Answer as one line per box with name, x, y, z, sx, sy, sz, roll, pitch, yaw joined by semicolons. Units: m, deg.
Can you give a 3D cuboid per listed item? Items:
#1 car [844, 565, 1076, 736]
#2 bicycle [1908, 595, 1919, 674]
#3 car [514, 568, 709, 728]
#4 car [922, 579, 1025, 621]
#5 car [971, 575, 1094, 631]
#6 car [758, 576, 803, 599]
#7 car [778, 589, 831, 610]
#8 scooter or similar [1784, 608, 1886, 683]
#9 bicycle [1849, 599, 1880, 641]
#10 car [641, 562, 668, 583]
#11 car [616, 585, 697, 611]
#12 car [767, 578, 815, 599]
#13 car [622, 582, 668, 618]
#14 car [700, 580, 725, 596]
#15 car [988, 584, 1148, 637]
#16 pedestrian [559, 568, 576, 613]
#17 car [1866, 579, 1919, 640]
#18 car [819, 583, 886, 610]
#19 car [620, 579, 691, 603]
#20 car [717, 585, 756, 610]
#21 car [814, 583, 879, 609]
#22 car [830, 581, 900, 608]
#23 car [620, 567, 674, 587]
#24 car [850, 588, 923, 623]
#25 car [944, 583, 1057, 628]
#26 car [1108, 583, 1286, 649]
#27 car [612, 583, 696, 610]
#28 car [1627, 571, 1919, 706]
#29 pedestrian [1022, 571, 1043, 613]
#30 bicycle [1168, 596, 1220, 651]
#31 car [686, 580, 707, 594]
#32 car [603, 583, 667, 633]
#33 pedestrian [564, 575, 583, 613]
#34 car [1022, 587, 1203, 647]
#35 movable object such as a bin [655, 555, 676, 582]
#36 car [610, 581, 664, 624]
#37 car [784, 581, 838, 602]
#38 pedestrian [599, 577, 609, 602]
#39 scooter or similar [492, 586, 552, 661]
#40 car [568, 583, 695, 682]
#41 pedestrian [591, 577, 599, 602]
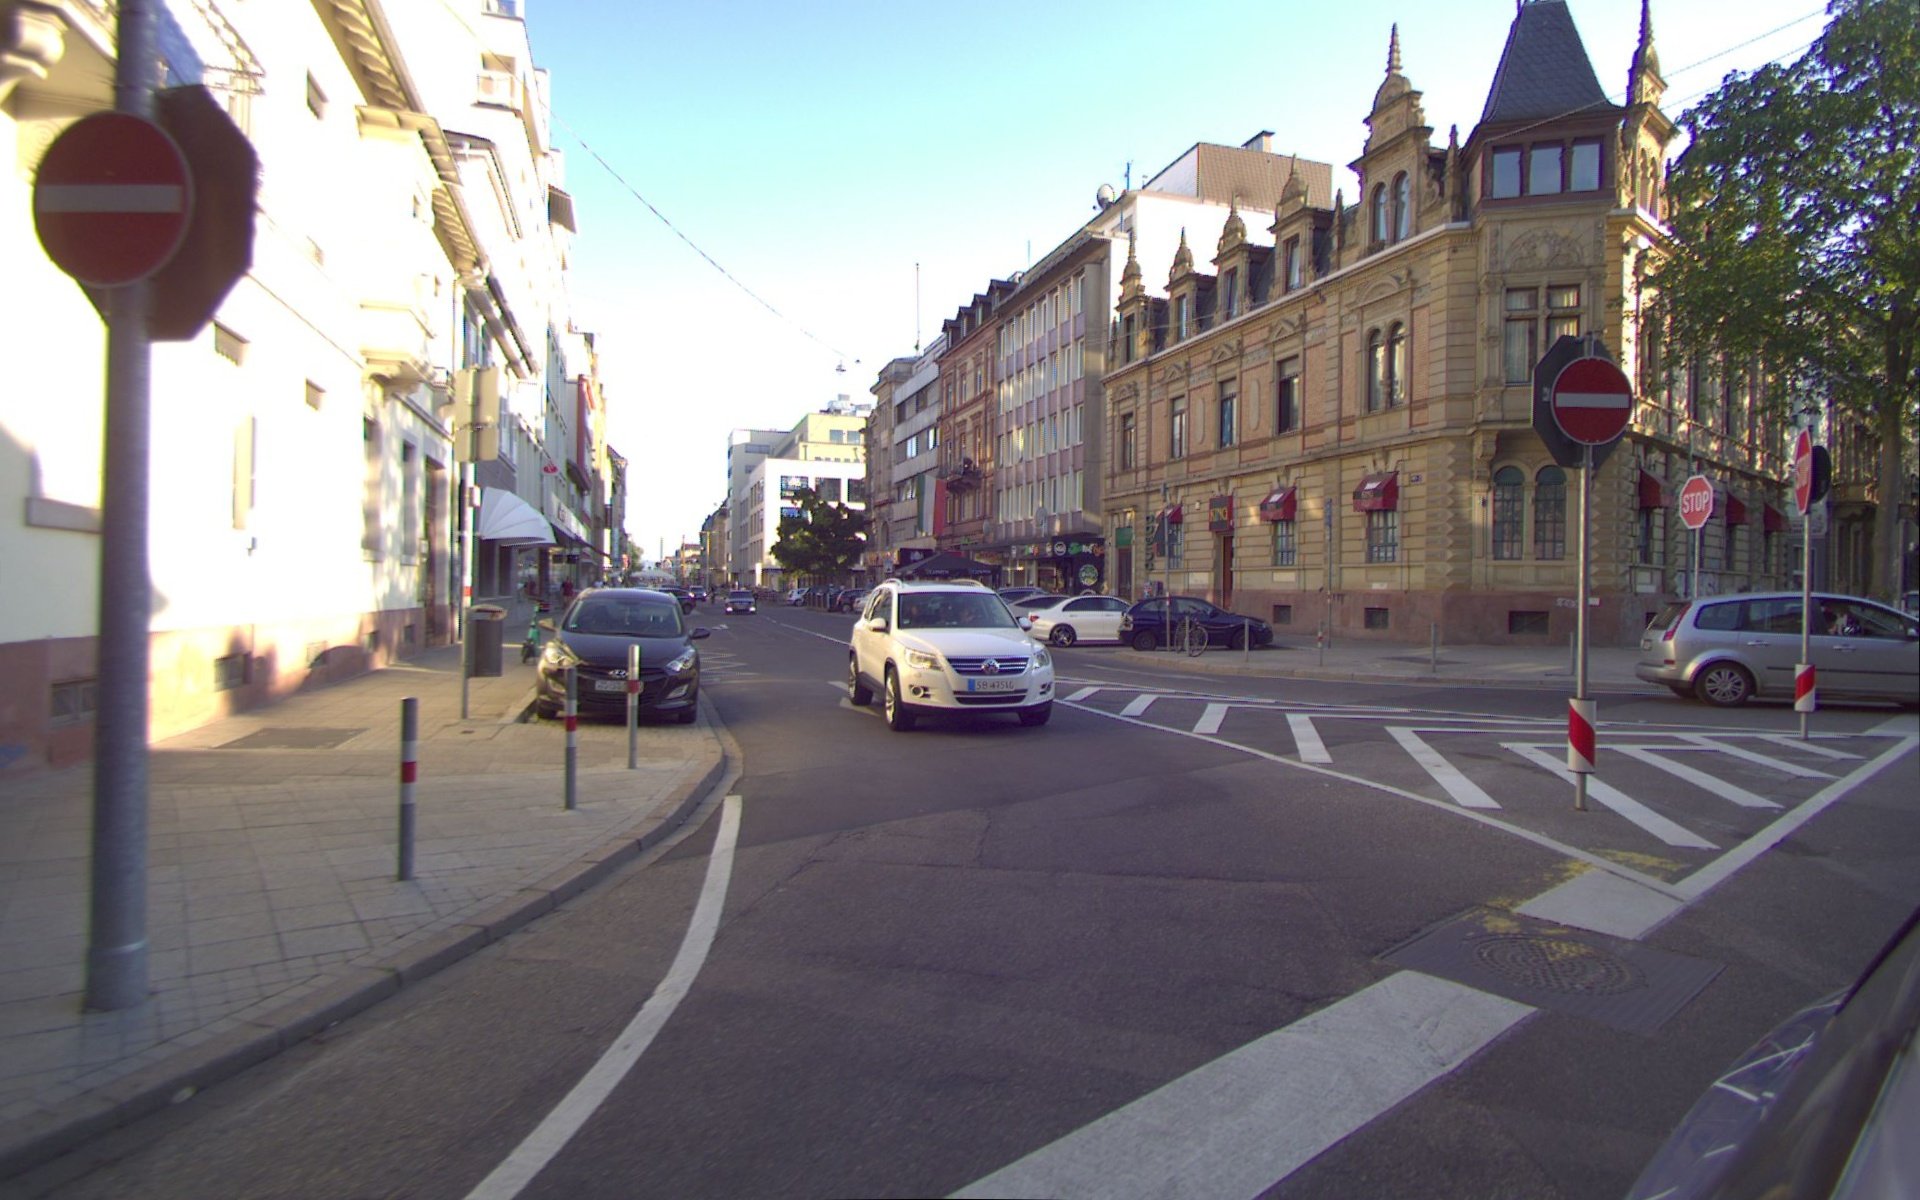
car;-0.211;0.453;12.318;1.856;1.676;4.213;-1;1;-14
bicycle;17.416;0.619;17.989;1.262;1.389;0.418;1;1;-29
car;-4.153;0.473;12.731;1.828;1.562;4.433;4;0;-14
car;0.533;-0.025;42.012;4.056;1.580;1.782;2;1;-4
car;2.557;0.081;35.388;4.073;1.747;1.774;2;1;11
car;-16.881;-1.201;95.054;3.915;2.039;1.876;1;0;-16
car;-12.987;-0.030;84.398;4.051;1.580;1.784;1;1;-17
scooter or similar;15.376;0.790;17.803;1.252;1.259;0.505;1;0;7
bicycle;27.686;0.611;30.976;1.694;1.250;0.386;0;1;-38
car;-30.606;-2.743;101.326;2.306;2.039;4.550;0;0;-20
car;-17.337;-0.136;57.937;1.769;1.386;4.118;2;2;43
car;-15.125;-1.041;90.606;3.916;1.838;1.862;1;1;-19
car;-13.204;-0.035;42.580;1.738;1.386;4.193;1;1;-16
car;-21.589;-1.061;88.309;1.707;1.390;4.008;0;0;-20
car;3.478;0.311;32.250;4.898;1.476;1.869;2;0;12
pedestrian;-18.043;-0.440;46.554;0.665;2.039;0.621;1;0;-17
car;32.363;0.366;32.570;1.917;1.938;4.548;1;2;-42
car;-6.994;-0.221;65.764;4.051;1.580;1.784;1;1;-17
car;-19.850;-0.575;66.094;4.103;1.543;1.776;0;1;-34
car;-13.035;-0.165;58.964;1.707;1.390;4.008;0;0;-20
car;-7.585;-0.290;67.574;4.051;1.580;1.784;1;1;-17
car;-5.958;-0.354;63.277;4.051;1.580;1.784;1;1;-17
car;-24.326;-1.799;78.618;3.916;1.482;1.764;1;1;-22
car;-3.951;0.260;54.169;3.782;1.812;2.002;0;0;-5
car;1.565;0.186;38.540;4.073;1.559;1.774;2;1;11
car;5.934;0.386;25.779;4.207;1.430;1.709;-3;0;8
car;-16.369;-0.216;54.314;1.764;1.386;4.132;2;2;34
car;11.911;0.476;13.887;4.305;1.674;1.871;1;1;24
pedestrian;3.127;-0.342;43.751;0.621;1.785;0.737;1;0;-18
bicycle;5.317;0.509;23.068;0.813;1.149;1.832;0;1;2
car;-27.640;-1.340;106.131;1.707;1.390;4.008;0;0;-20
car;-10.004;0.201;31.344;1.738;1.386;4.193;1;1;-16
pedestrian;-21.152;-0.316;55.383;0.891;2.039;1.104;0;0;-17
car;4.368;0.432;28.932;4.916;1.476;1.980;2;1;13
movable object such as a bin;-34.512;-3.628;118.350;2.306;2.993;5.585;0;0;-17
car;-11.674;0.049;36.744;1.738;1.386;4.193;1;1;-16
car;-12.088;-0.686;82.124;4.051;1.580;1.784;1;1;-17
pedestrian;-25.359;-0.745;72.115;0.588;1.728;0.499;2;0;-24
scooter or similar;-7.447;0.381;17.256;0.378;1.218;1.189;1;1;7
car;-5.569;0.460;17.445;1.738;1.386;4.527;4;0;-16
pedestrian;-26.007;-0.731;72.052;0.417;1.728;0.499;2;0;-23
